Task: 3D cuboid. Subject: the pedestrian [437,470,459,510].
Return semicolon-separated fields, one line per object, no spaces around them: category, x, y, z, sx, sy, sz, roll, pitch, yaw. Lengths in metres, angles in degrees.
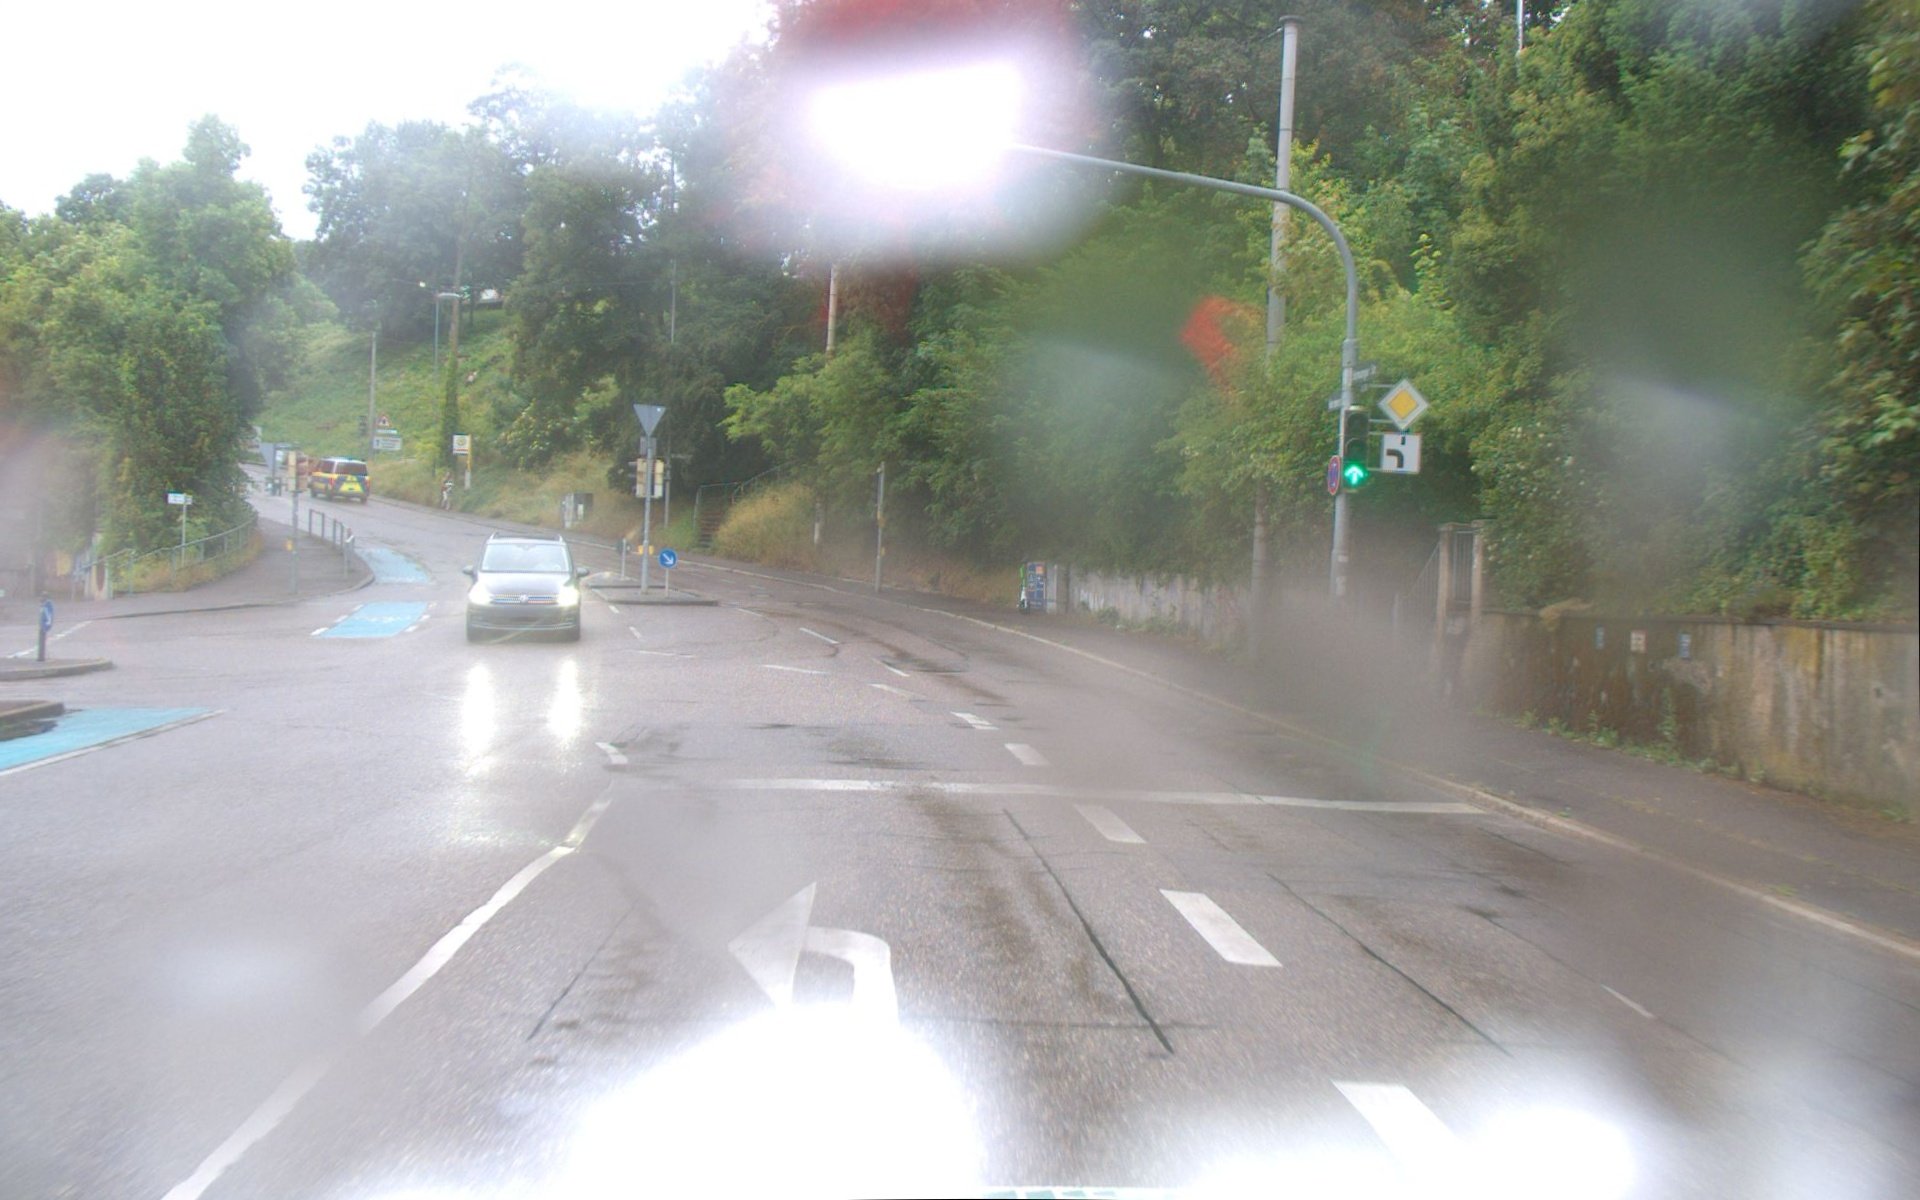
pedestrian;-23.435;-5.020;75.726;0.868;1.767;0.860;1;-1;-22

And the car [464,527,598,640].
car;-7.116;-0.350;27.763;1.815;1.709;4.164;-1;3;-10

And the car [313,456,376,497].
car;-29.665;-5.943;79.709;1.902;1.811;3.953;1;3;-35

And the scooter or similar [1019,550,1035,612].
scooter or similar;1.460;-0.418;35.915;0.315;1.302;0.752;1;3;3
